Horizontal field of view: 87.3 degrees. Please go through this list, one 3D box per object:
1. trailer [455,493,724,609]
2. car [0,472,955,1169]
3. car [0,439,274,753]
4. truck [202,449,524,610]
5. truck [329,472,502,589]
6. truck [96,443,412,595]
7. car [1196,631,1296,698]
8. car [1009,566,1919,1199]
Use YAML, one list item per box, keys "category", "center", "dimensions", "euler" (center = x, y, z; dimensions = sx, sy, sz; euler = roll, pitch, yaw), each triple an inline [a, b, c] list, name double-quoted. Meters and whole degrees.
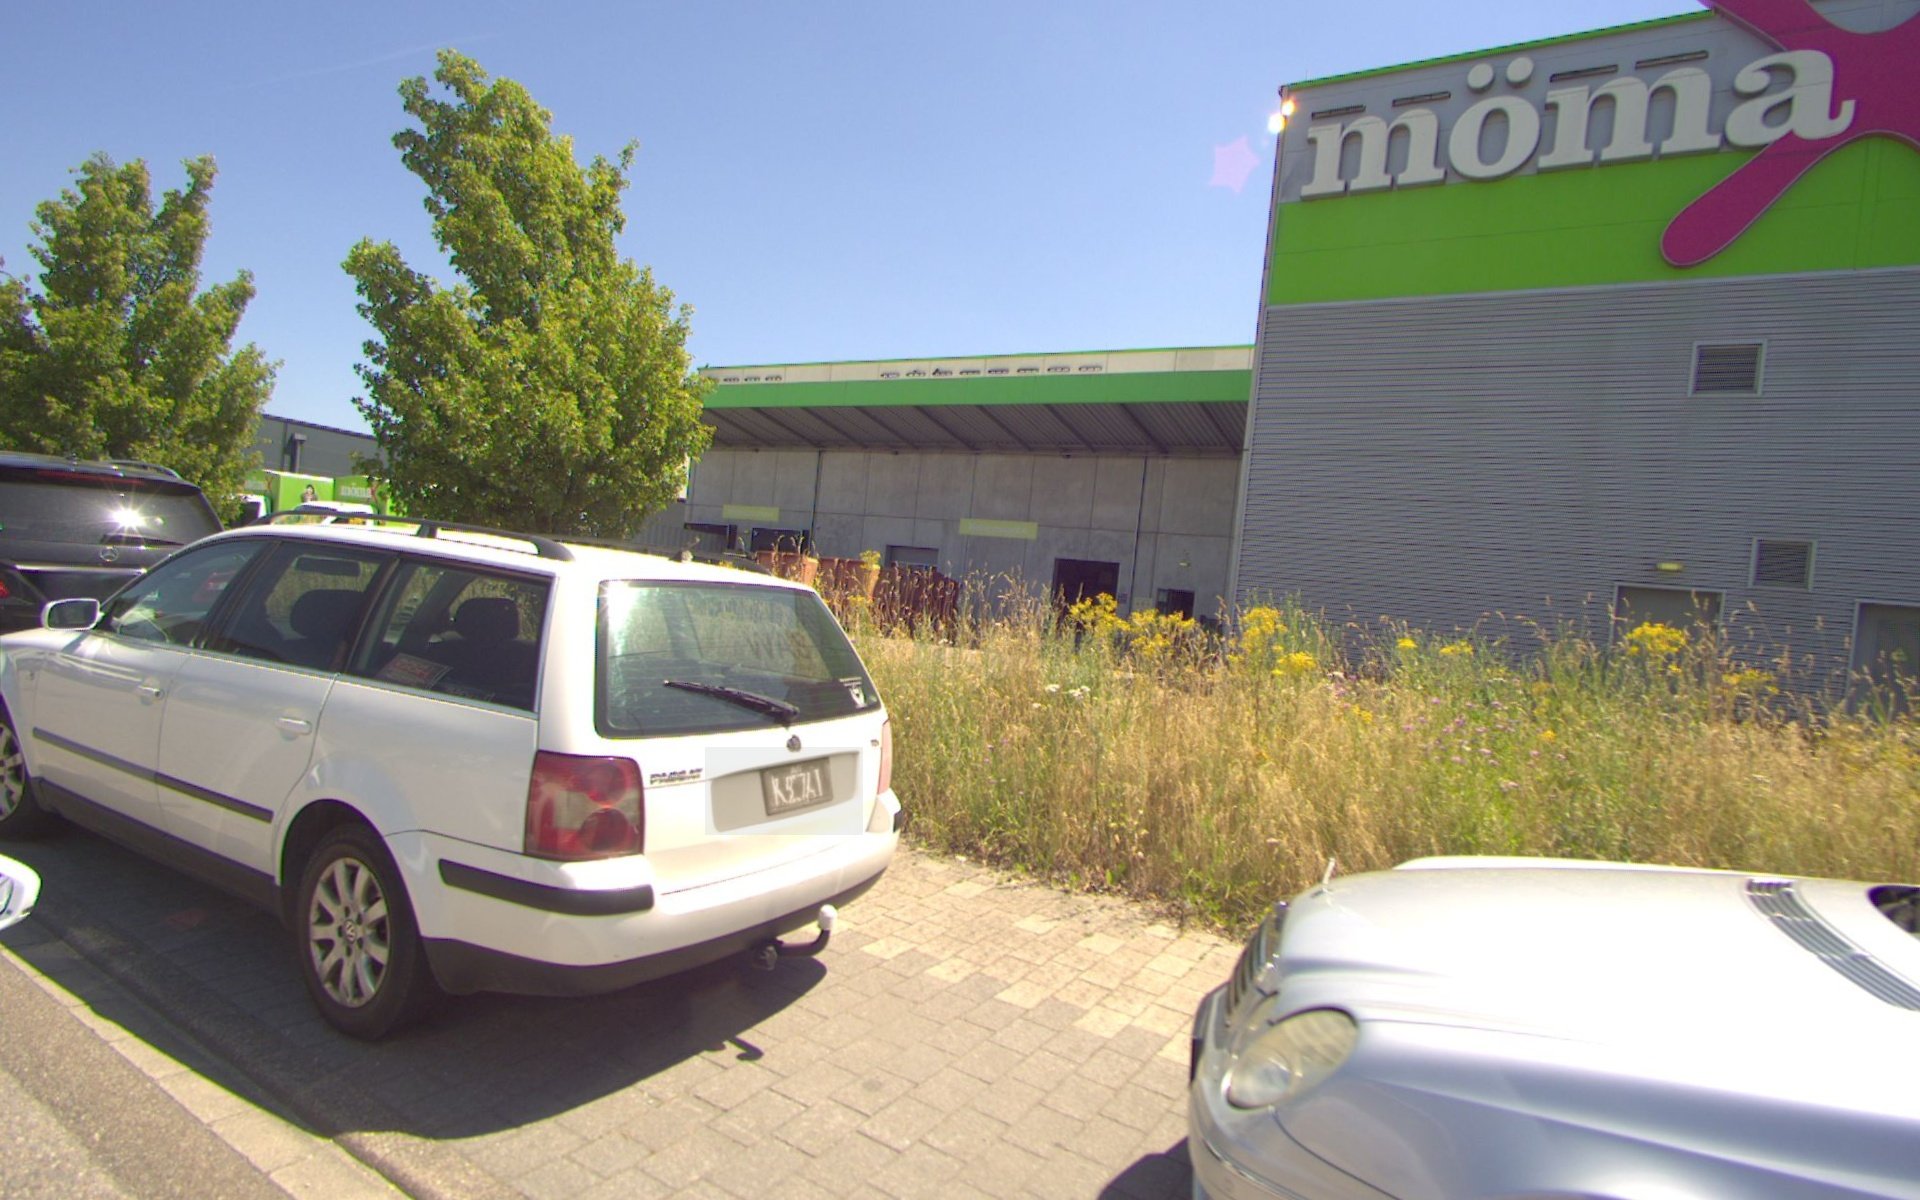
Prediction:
- category: "trailer"
  center: [-16.796, -2.030, 47.295]
  dimensions: [2.758, 3.922, 12.632]
  euler: [5, -1, 32]
- category: "car"
  center: [-2.536, 0.376, 4.195]
  dimensions: [4.691, 1.502, 1.715]
  euler: [6, 2, 29]
- category: "car"
  center: [-7.074, -0.219, 7.197]
  dimensions: [4.695, 1.748, 1.811]
  euler: [6, 2, 32]
- category: "truck"
  center: [-13.468, -1.470, 23.232]
  dimensions: [2.267, 2.908, 5.911]
  euler: [6, 0, 29]
- category: "truck"
  center: [-21.411, -2.657, 39.783]
  dimensions: [2.758, 3.923, 5.068]
  euler: [5, -1, 32]
- category: "truck"
  center: [-17.291, -1.879, 25.054]
  dimensions: [2.374, 2.949, 5.828]
  euler: [6, 0, 31]
- category: "car"
  center: [7.851, 1.768, 27.478]
  dimensions: [1.525, 1.552, 3.388]
  euler: [6, 0, 34]
- category: "car"
  center: [2.591, 0.944, 1.440]
  dimensions: [4.691, 1.502, 1.806]
  euler: [6, 2, 29]
